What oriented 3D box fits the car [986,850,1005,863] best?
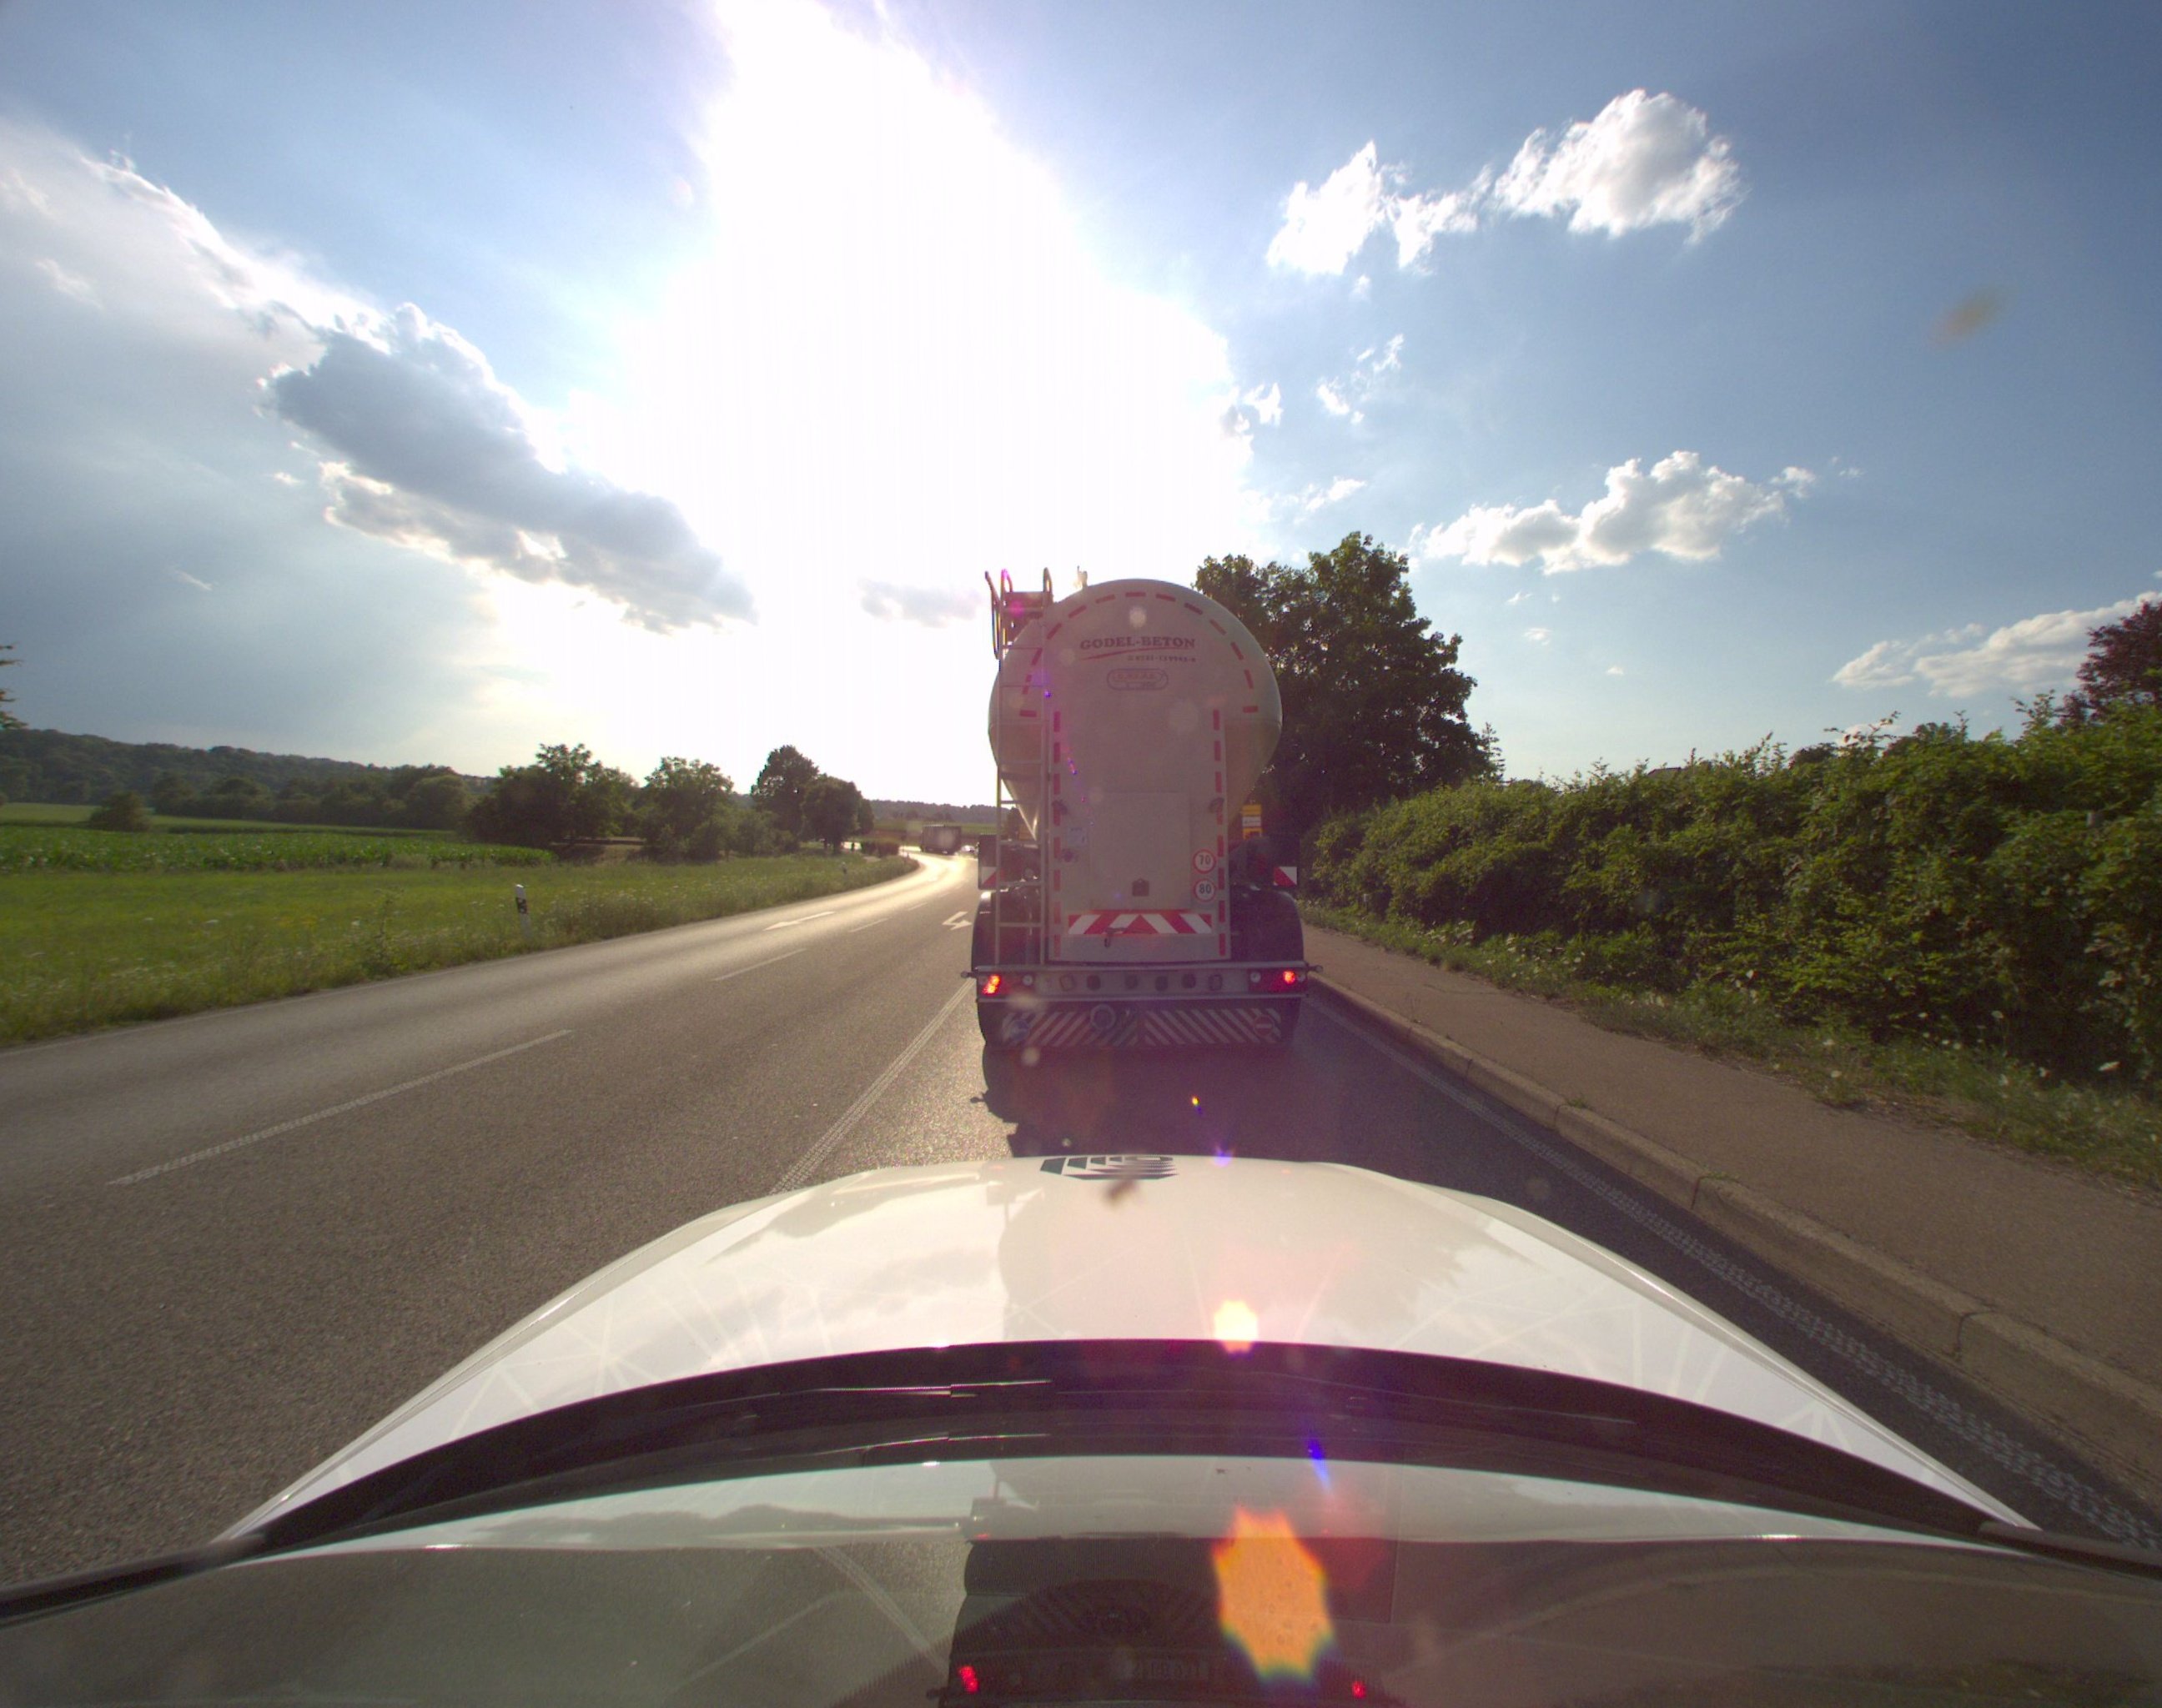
[{"bbox_3d":[-9.256,0.295,88.086,1.583,1.341,3.407,1,0,-16],"label":"car"}]

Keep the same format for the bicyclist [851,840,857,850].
[{"bbox_3d":[-31.582,-1.230,113.222,0.634,1.419,0.689,2,0,-7],"label":"bicyclist"}]

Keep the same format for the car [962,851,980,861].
[{"bbox_3d":[-13.884,0.300,102.598,1.773,1.206,3.407,1,0,-16],"label":"car"}]

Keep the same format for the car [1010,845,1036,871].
[{"bbox_3d":[-4.844,0.314,67.574,1.861,2.013,3.708,0,0,-9],"label":"car"}]

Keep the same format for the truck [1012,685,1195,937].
[{"bbox_3d":[0.304,-0.699,15.043,2.902,4.006,4.057,0,0,-2],"label":"truck"}]

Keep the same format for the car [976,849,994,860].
[{"bbox_3d":[-11.392,0.064,96.375,1.583,1.341,3.407,1,0,-16],"label":"car"}]

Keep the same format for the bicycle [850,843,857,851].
[{"bbox_3d":[-31.595,-0.935,113.253,0.634,1.074,1.667,2,0,-6],"label":"bicycle"}]

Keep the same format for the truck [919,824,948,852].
[{"bbox_3d":[-23.250,-2.485,128.121,3.388,4.350,5.665,1,0,-21],"label":"truck"}]

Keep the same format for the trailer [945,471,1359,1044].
[{"bbox_3d":[0.414,-0.688,10.706,2.901,4.006,9.924,0,0,-1],"label":"trailer"}]

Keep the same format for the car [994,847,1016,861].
[{"bbox_3d":[-7.663,-0.018,81.879,1.583,1.341,3.407,1,0,-16],"label":"car"}]

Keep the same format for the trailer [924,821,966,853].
[{"bbox_3d":[-20.232,-2.440,120.243,3.388,4.350,14.192,1,0,-21],"label":"trailer"}]

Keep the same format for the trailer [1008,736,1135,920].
[{"bbox_3d":[0.027,-0.648,26.368,2.943,4.315,14.182,1,0,2],"label":"trailer"}]
